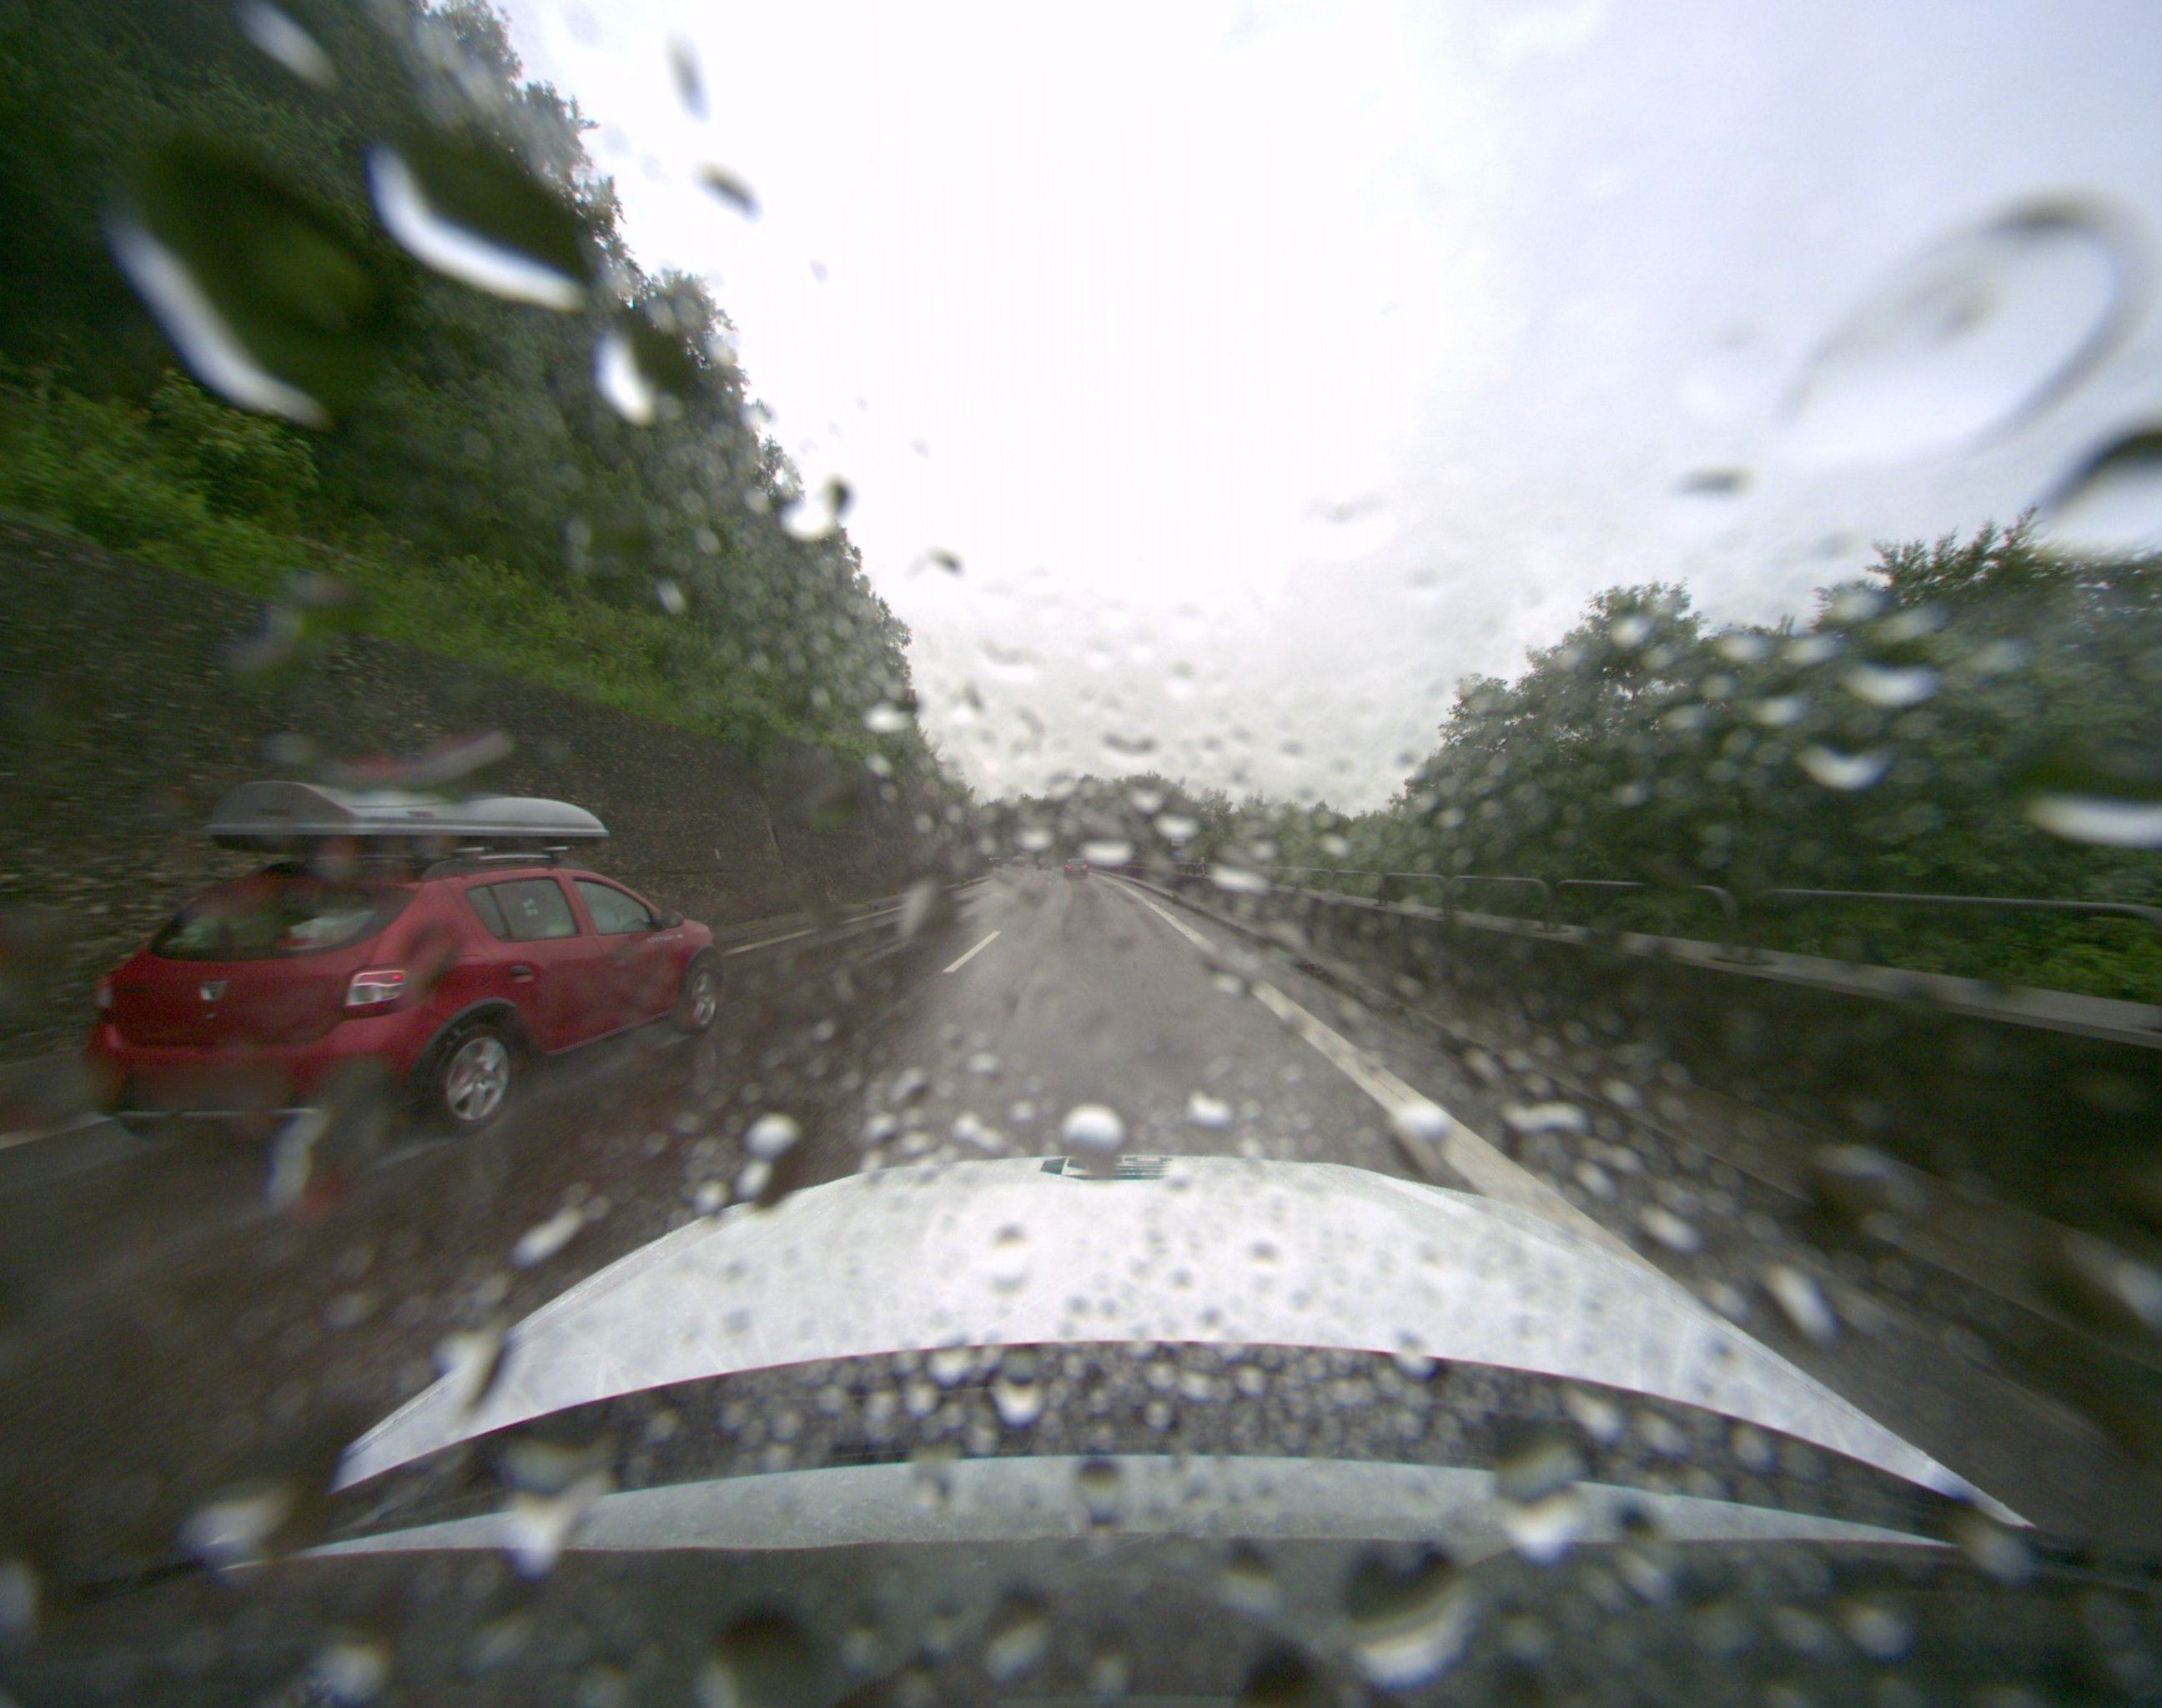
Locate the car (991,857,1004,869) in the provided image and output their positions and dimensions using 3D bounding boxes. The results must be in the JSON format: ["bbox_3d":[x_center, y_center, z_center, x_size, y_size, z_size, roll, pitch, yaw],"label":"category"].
[{"bbox_3d":[-13.413,1.452,131.141,1.992,1.904,3.989,0,-1,-8],"label":"car"}]

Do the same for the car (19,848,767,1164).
[{"bbox_3d":[-4.227,0.768,6.057,1.985,1.552,4.004,-1,0,4],"label":"car"}]

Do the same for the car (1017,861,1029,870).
[{"bbox_3d":[-9.636,1.905,135.522,1.799,1.467,3.989,-1,0,-8],"label":"car"}]

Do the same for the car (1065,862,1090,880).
[{"bbox_3d":[-0.308,1.296,62.573,1.796,1.307,3.996,-1,0,-3],"label":"car"}]

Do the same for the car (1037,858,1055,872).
[{"bbox_3d":[-4.578,1.418,106.667,1.991,1.750,3.990,0,-1,-7],"label":"car"}]
